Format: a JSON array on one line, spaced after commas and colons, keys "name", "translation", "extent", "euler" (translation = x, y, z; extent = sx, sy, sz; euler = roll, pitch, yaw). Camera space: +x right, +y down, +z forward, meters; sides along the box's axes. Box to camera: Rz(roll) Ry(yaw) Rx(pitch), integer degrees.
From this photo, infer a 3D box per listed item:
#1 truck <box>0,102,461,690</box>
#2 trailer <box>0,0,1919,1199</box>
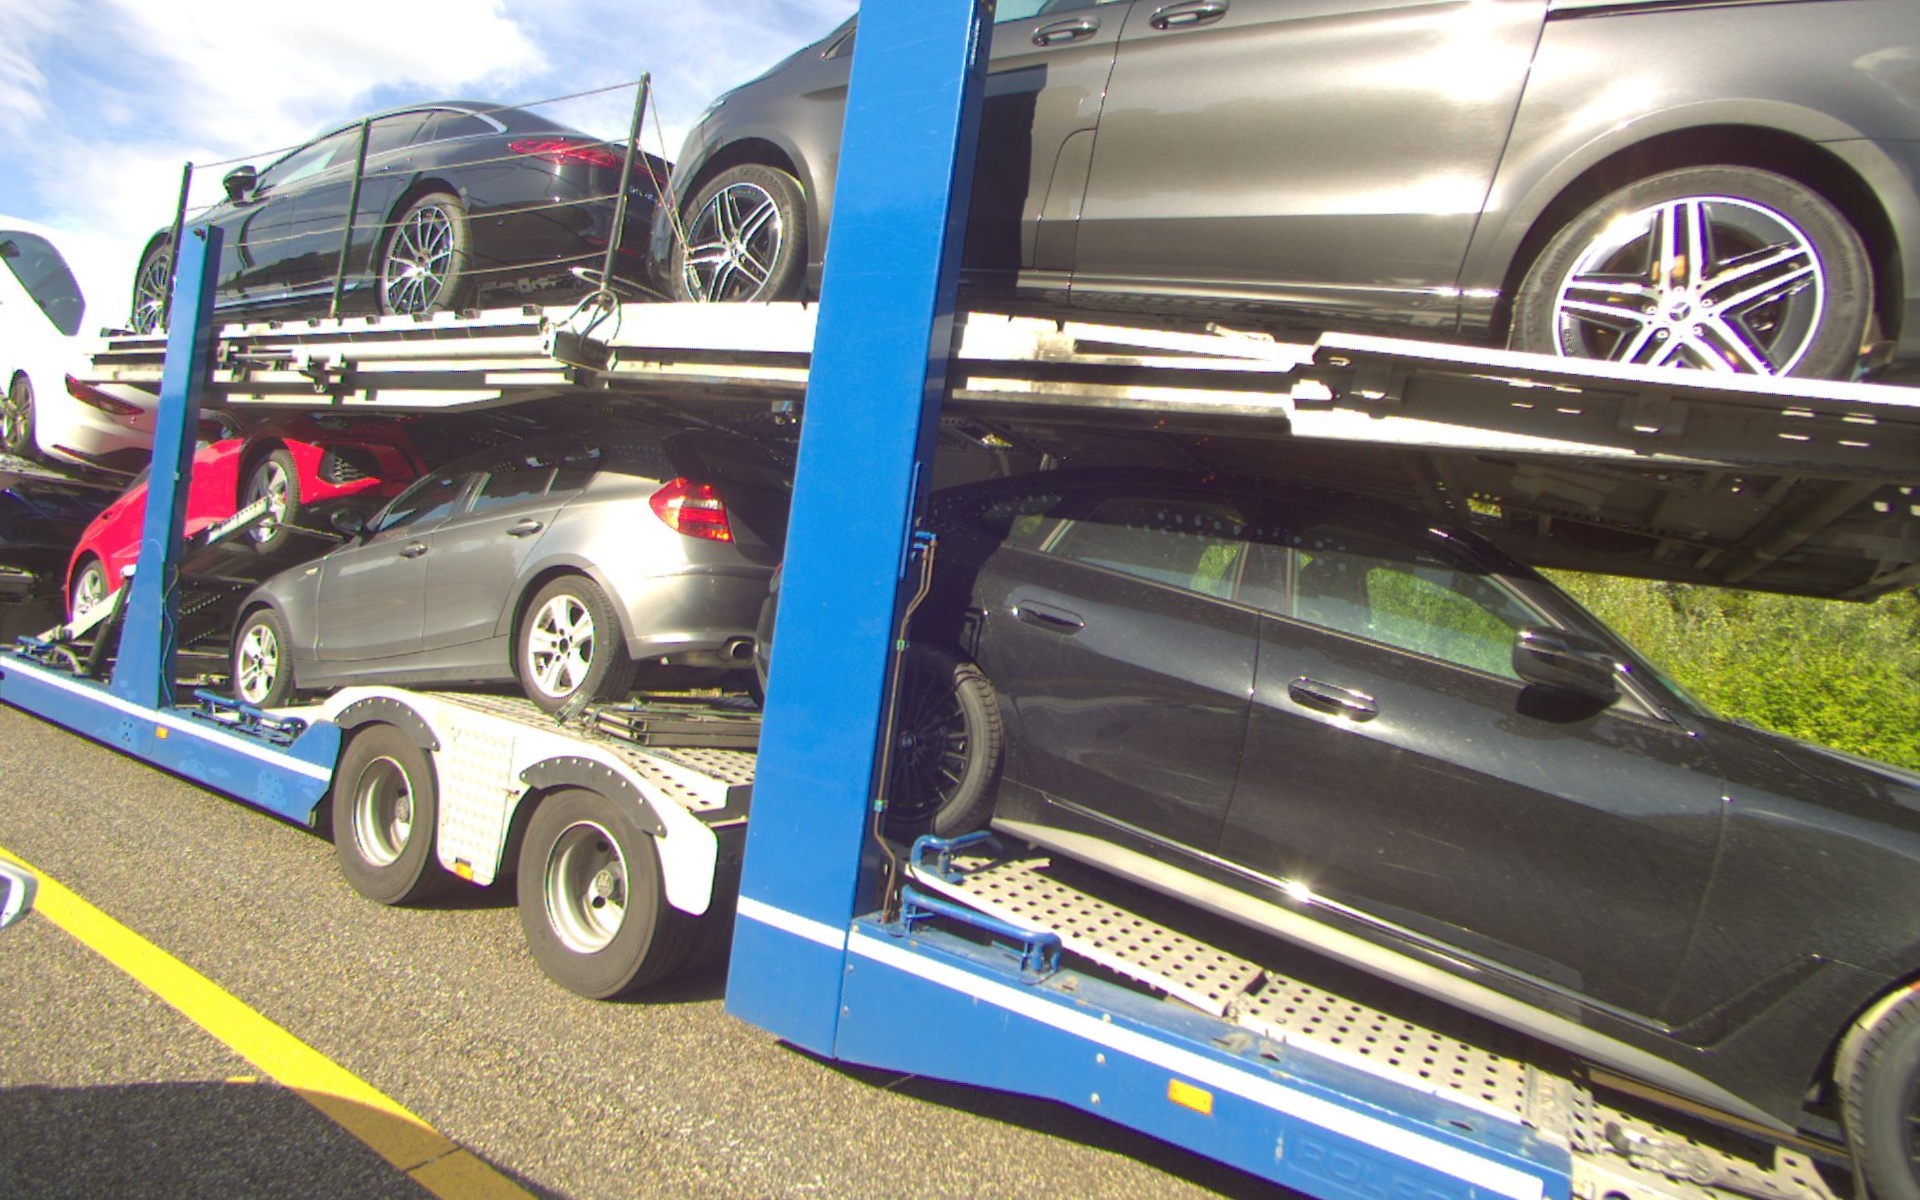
[{"name": "truck", "translation": [-9.765, -1.723, 10.899], "extent": [7.817, 4.244, 3.770], "euler": [6, -2, 31]}, {"name": "trailer", "translation": [-2.831, -0.890, 6.645], "extent": [15.957, 4.244, 3.734], "euler": [6, -2, 31]}]
